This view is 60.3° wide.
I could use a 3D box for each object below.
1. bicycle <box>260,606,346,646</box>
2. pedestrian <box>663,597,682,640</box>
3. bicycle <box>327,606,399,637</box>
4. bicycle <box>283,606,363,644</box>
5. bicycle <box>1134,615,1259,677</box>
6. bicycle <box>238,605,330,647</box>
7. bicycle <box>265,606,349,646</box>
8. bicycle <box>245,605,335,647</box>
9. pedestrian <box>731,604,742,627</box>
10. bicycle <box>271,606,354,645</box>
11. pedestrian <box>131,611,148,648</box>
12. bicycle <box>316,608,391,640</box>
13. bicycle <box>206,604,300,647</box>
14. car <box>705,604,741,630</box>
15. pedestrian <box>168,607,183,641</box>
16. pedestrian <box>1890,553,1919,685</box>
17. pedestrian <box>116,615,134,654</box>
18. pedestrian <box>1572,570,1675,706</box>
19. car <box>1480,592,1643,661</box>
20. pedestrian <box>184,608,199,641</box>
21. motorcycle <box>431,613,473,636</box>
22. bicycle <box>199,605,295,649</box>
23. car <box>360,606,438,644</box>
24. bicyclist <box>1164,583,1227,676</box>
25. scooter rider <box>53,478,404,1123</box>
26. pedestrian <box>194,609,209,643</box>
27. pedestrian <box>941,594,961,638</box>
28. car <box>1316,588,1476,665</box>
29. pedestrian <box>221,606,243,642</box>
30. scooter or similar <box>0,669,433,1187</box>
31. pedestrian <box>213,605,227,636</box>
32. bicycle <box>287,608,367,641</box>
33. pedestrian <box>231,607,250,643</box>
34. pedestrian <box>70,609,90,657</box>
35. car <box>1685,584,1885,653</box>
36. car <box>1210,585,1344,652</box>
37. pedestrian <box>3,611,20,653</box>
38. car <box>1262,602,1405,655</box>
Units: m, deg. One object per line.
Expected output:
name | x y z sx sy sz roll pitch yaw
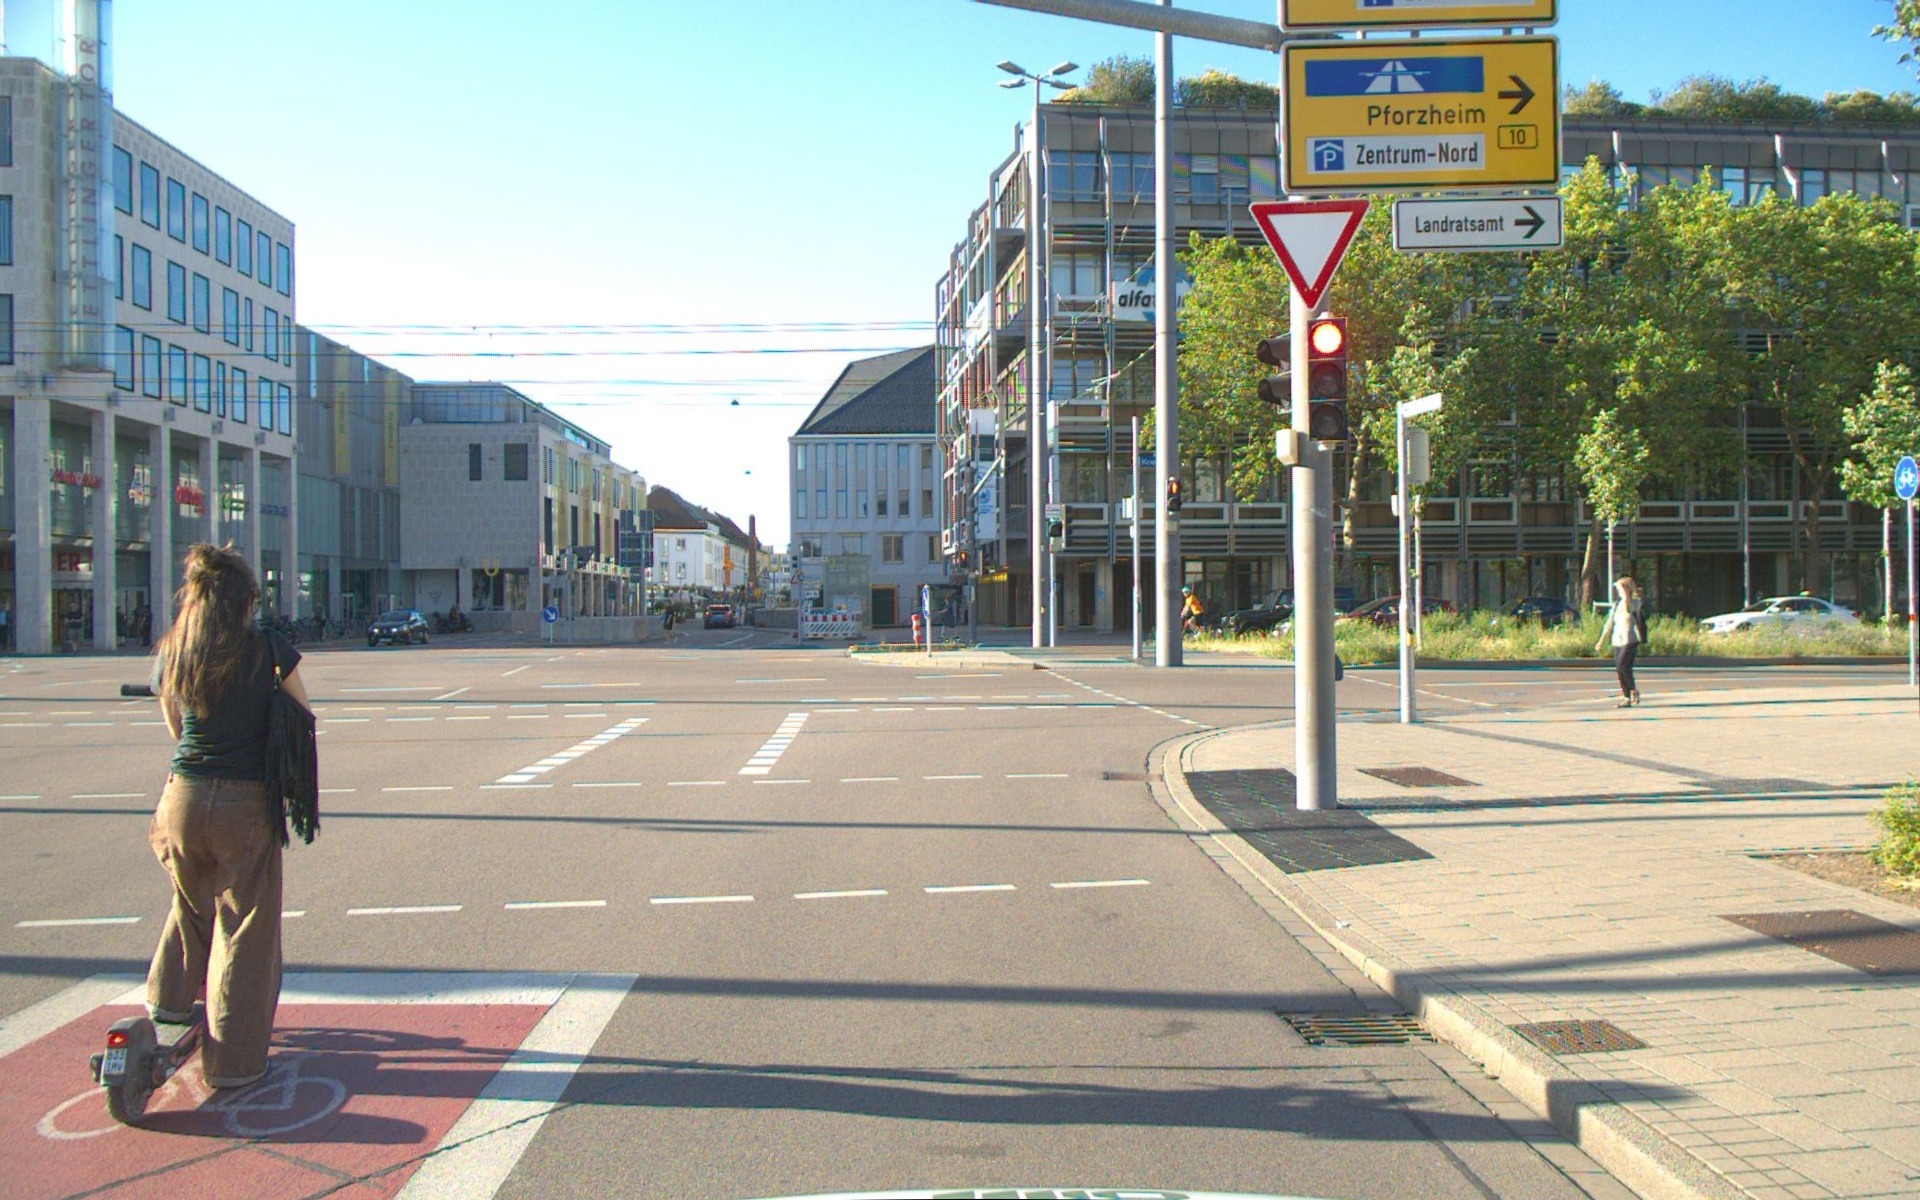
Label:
bicycle | -29.574 1.164 74.492 3.430 1.726 0.984 -1 0 -12
pedestrian | -11.299 0.716 64.985 0.650 1.687 0.755 -1 0 -4
bicycle | -31.073 1.115 86.125 3.430 1.554 0.984 -1 0 -12
bicycle | -30.338 1.183 78.865 3.430 1.726 0.984 -1 0 -12
bicycle | 6.748 1.302 47.222 3.427 1.688 0.929 -1 0 -10
bicycle | -28.868 1.083 70.711 3.427 1.726 1.114 -1 0 -10
bicycle | -29.799 1.173 75.580 3.430 1.726 0.984 -1 0 -12
bicycle | -29.099 1.119 71.923 3.427 1.726 1.114 -1 0 -10
pedestrian | -13.766 0.960 101.886 0.598 1.436 0.569 -1 0 -7
bicycle | -30.039 1.174 76.779 3.430 1.726 0.984 -1 0 -12
pedestrian | -34.845 1.242 70.245 0.472 1.537 0.513 -1 0 -5
bicycle | -30.885 1.207 84.264 3.430 1.554 0.984 -1 0 -12
bicycle | -29.548 1.051 69.180 3.427 1.726 1.114 -1 0 -10
car | -15.498 1.093 108.161 2.157 1.635 4.320 -1 0 -6
pedestrian | -36.641 1.121 77.276 0.472 1.537 0.513 -1 0 -5
pedestrian | 13.075 0.246 22.090 0.682 1.759 0.939 -1 0 -14
pedestrian | -35.088 1.461 69.501 0.472 1.613 0.513 -1 0 -5
pedestrian | 8.318 0.458 20.758 0.787 1.658 0.939 -1 0 -14
car | 18.827 0.823 51.879 4.359 2.049 1.998 1 0 -6
pedestrian | -35.933 1.133 77.337 0.472 1.537 0.513 -1 0 -5
motorcycle | -29.956 1.430 97.592 2.230 1.341 0.719 -1 0 -6
bicycle | -29.323 1.108 68.031 3.427 1.726 1.114 -1 0 -10
car | -23.519 1.036 69.496 1.953 1.512 3.999 -1 0 -1
bicyclist | 6.718 0.832 47.222 1.539 2.625 0.930 -1 0 -10
scooter rider | -2.188 0.560 5.046 0.713 1.806 0.811 0 0 -1
pedestrian | -36.443 1.246 79.434 0.472 1.613 0.598 -1 0 -5
pedestrian | -0.346 0.622 64.891 0.715 1.687 0.649 -1 0 -8
car | 12.231 0.734 46.578 3.908 2.049 1.999 1 0 -3
pedestrian | -34.273 1.123 77.858 0.769 1.671 0.694 -1 0 -8
scooter or similar | -2.202 0.857 4.980 0.713 1.223 1.664 0 0 -1
pedestrian | -36.181 0.999 80.863 0.472 1.537 0.513 -1 0 -5
bicycle | -30.543 1.166 79.854 3.430 1.554 0.984 -1 0 -12
pedestrian | -33.313 1.159 76.547 0.641 1.671 0.693 -1 0 -9
pedestrian | -30.878 1.145 58.023 0.533 1.671 0.547 -1 0 -22
car | 26.172 0.581 52.575 5.332 2.049 2.096 1 0 -3
car | 10.304 0.599 53.919 3.908 2.049 1.999 1 0 -3
pedestrian | -37.137 1.256 64.759 0.420 1.613 0.498 -1 0 -5
car | 11.439 0.865 50.815 3.908 1.534 1.867 1 0 -4
